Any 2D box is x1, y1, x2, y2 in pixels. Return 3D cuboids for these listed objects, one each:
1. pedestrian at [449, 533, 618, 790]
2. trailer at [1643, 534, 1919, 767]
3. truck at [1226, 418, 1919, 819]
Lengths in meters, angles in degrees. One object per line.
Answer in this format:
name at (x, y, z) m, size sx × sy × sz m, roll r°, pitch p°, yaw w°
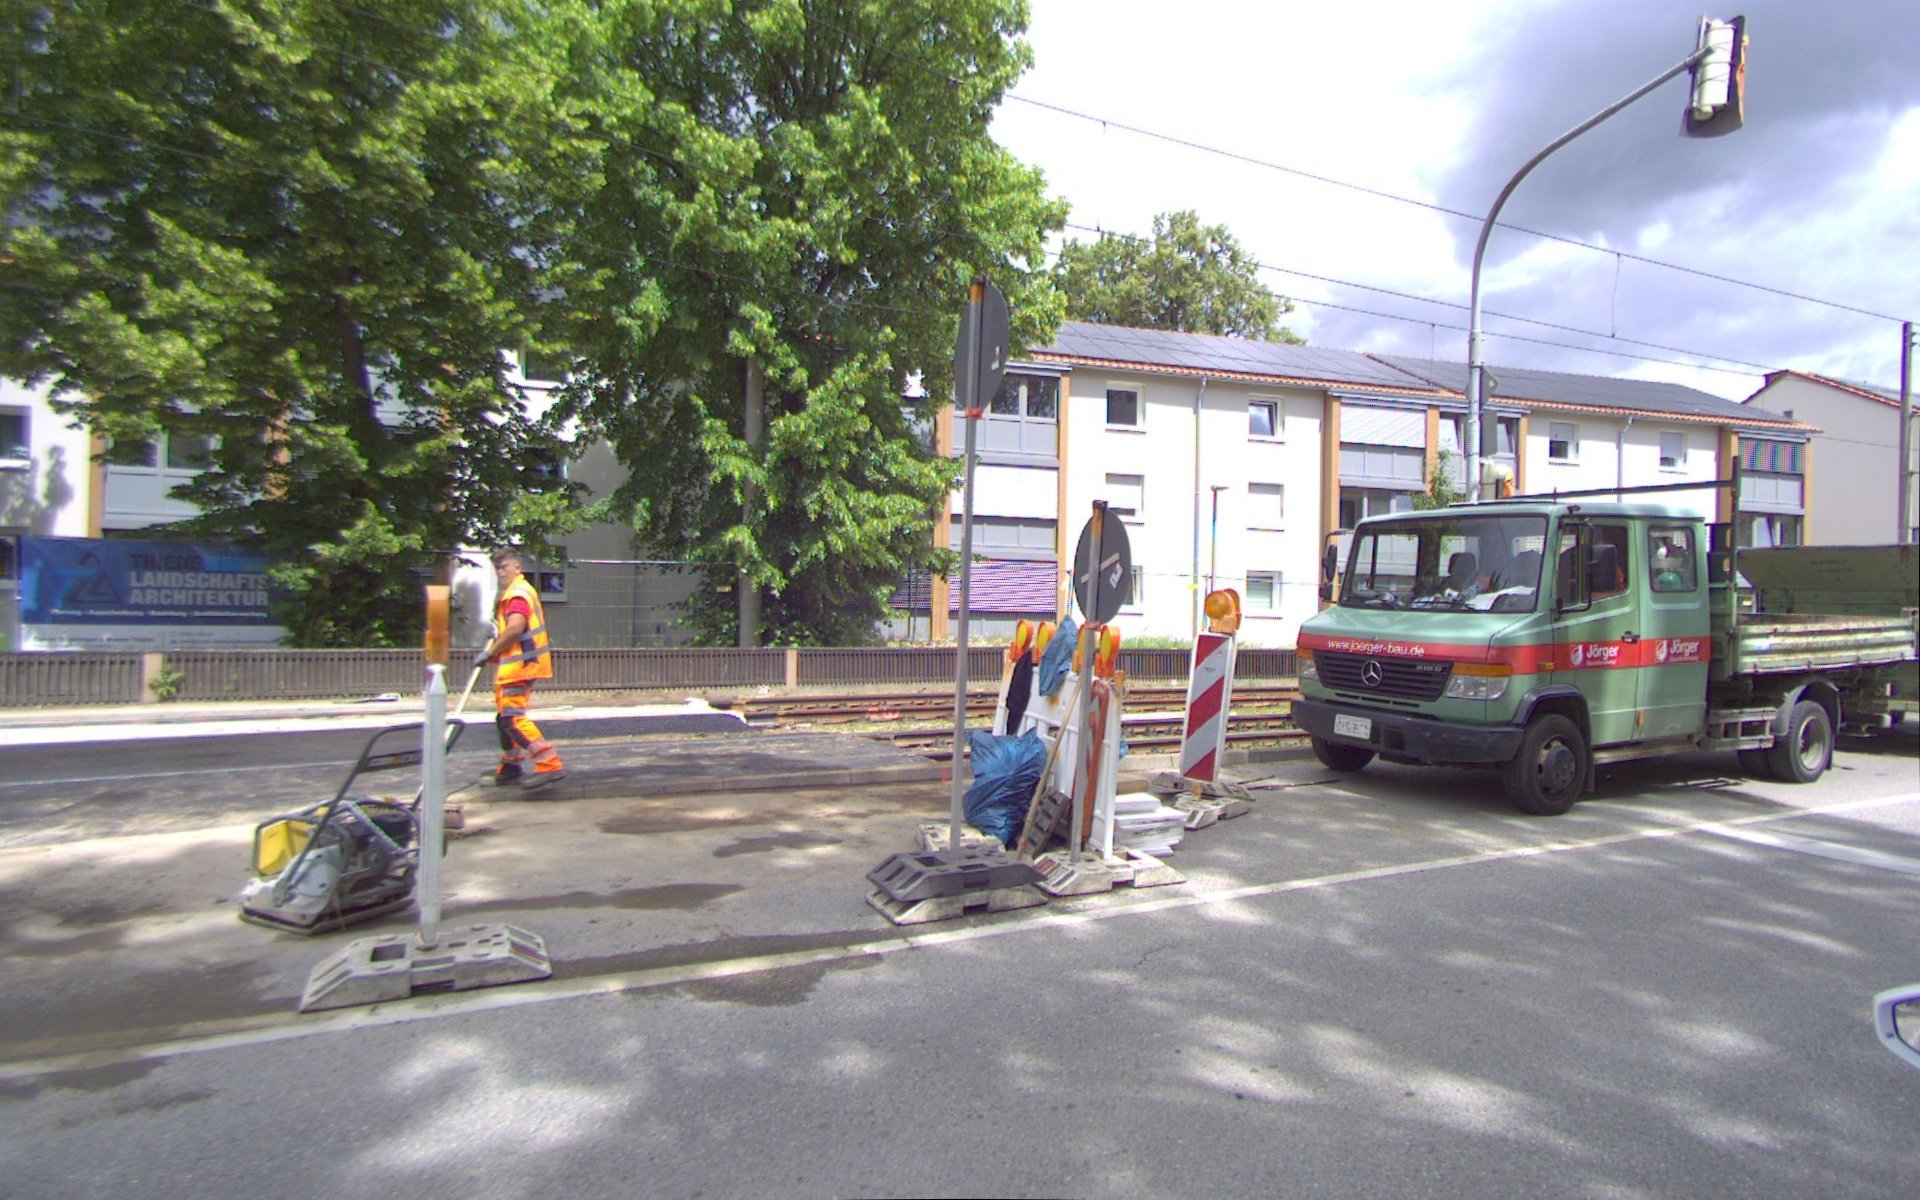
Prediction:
pedestrian at (-3.031, 0.423, 7.157) m, size 0.697 × 1.690 × 0.823 m, roll 1°, pitch -2°, yaw 44°
trailer at (11.546, 0.528, 12.137) m, size 6.163 × 2.243 × 2.654 m, roll 1°, pitch 0°, yaw -25°
truck at (5.892, 0.171, 9.465) m, size 6.308 × 2.761 × 2.654 m, roll 1°, pitch 0°, yaw -25°
